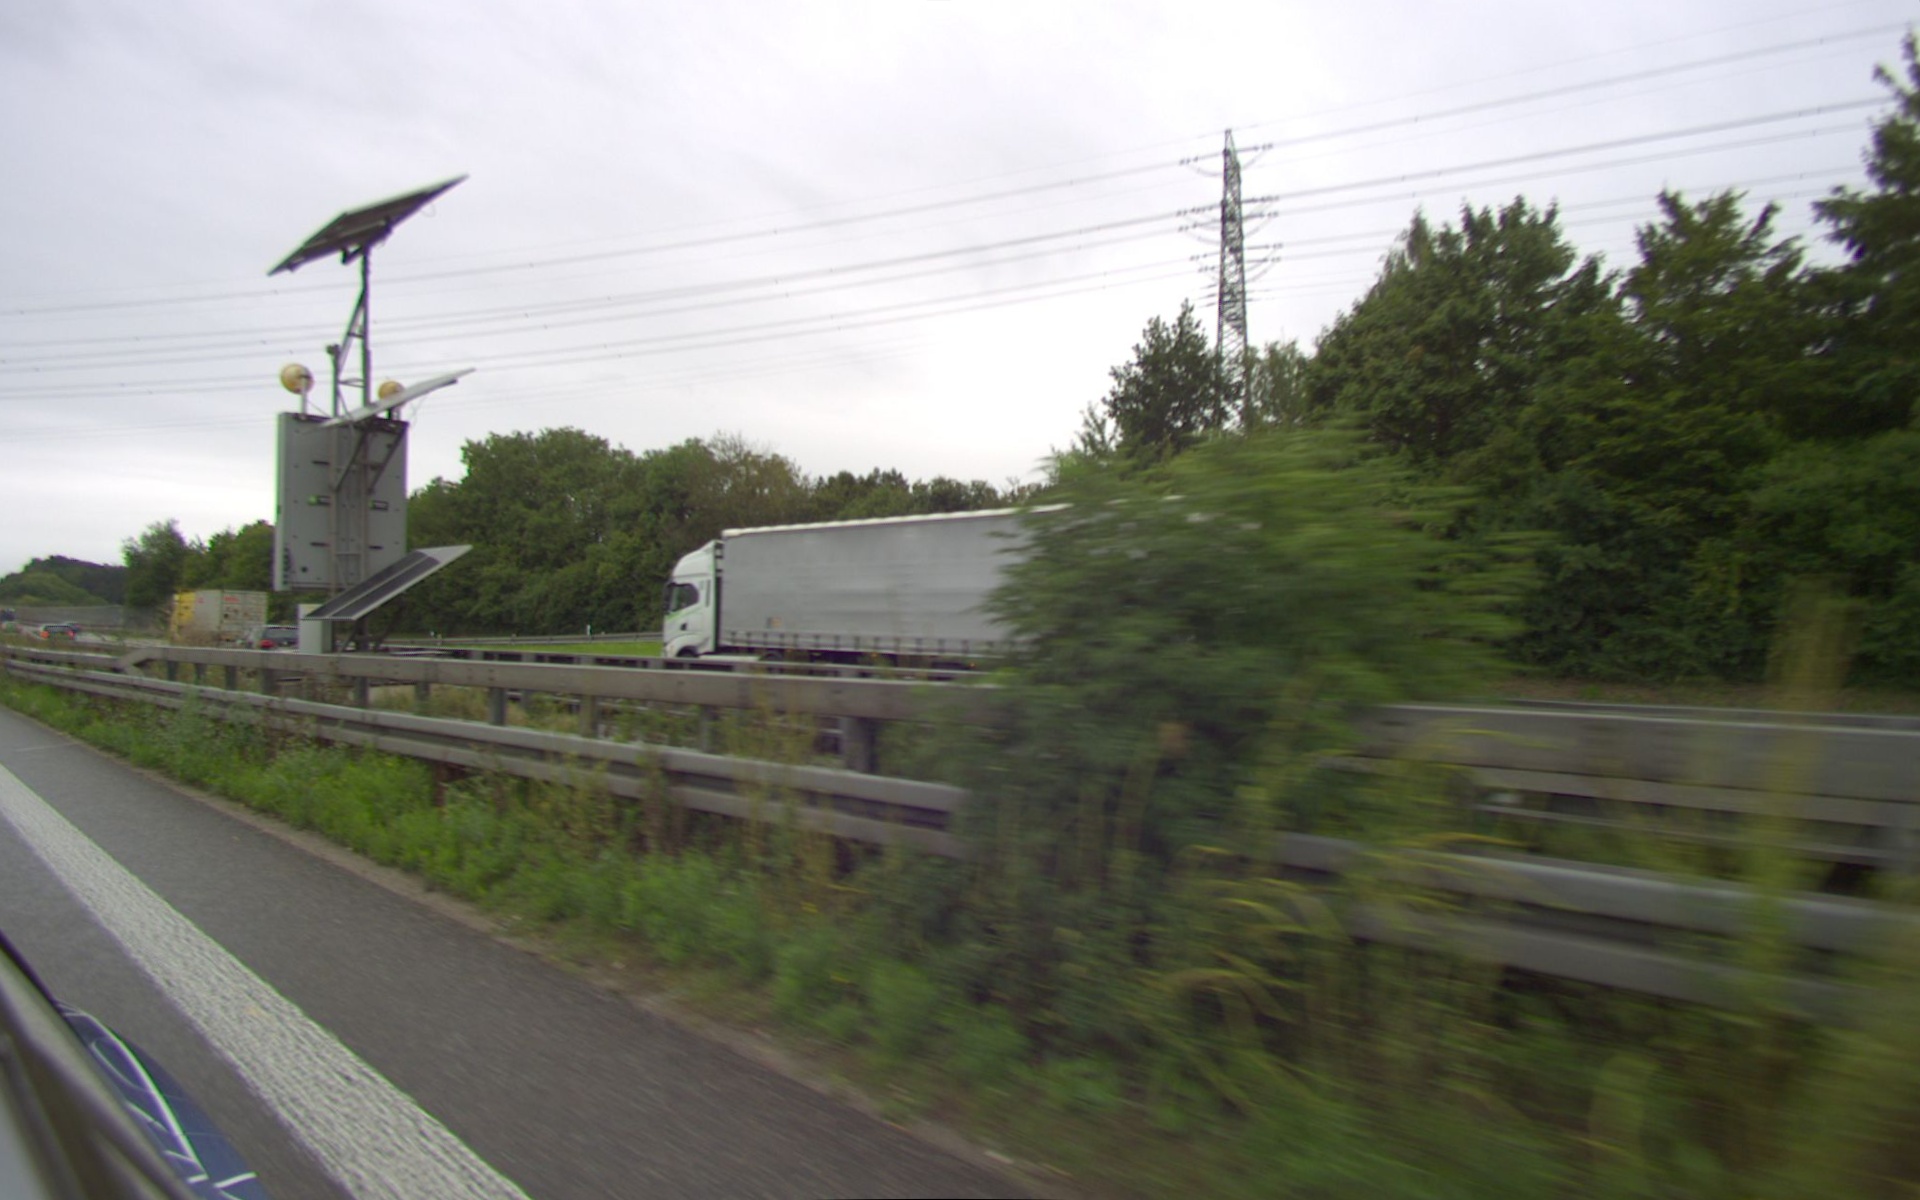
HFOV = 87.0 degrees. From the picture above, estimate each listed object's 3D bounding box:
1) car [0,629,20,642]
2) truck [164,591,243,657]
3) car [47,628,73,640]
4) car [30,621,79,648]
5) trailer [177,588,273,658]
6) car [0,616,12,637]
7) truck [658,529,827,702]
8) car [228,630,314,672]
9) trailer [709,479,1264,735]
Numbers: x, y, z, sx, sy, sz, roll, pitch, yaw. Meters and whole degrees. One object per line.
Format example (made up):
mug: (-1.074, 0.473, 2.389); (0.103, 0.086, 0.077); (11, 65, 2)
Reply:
car: (-112.243, 4.141, 119.152); (4.512, 1.505, 1.855); (-1, -3, 42)
truck: (-49.504, 1.593, 66.190); (6.154, 4.086, 2.733); (-2, -4, 41)
car: (-116.271, 4.356, 130.770); (3.997, 1.555, 1.948); (-1, -2, 40)
car: (-52.909, 2.018, 59.117); (3.998, 1.554, 1.647); (-2, -3, 41)
trailer: (-45.884, 1.505, 63.039); (9.196, 4.086, 2.733); (-2, -4, 41)
car: (-153.345, 4.252, 161.707); (6.174, 3.353, 2.230); (-1, -3, 42)
truck: (-5.911, 0.453, 27.362); (3.998, 4.269, 2.616); (-2, -3, 41)
car: (-28.168, 2.041, 41.316); (4.470, 1.651, 1.805); (-2, -3, 41)
trailer: (-0.404, 0.288, 22.480); (13.905, 4.269, 2.615); (-2, -2, 42)
